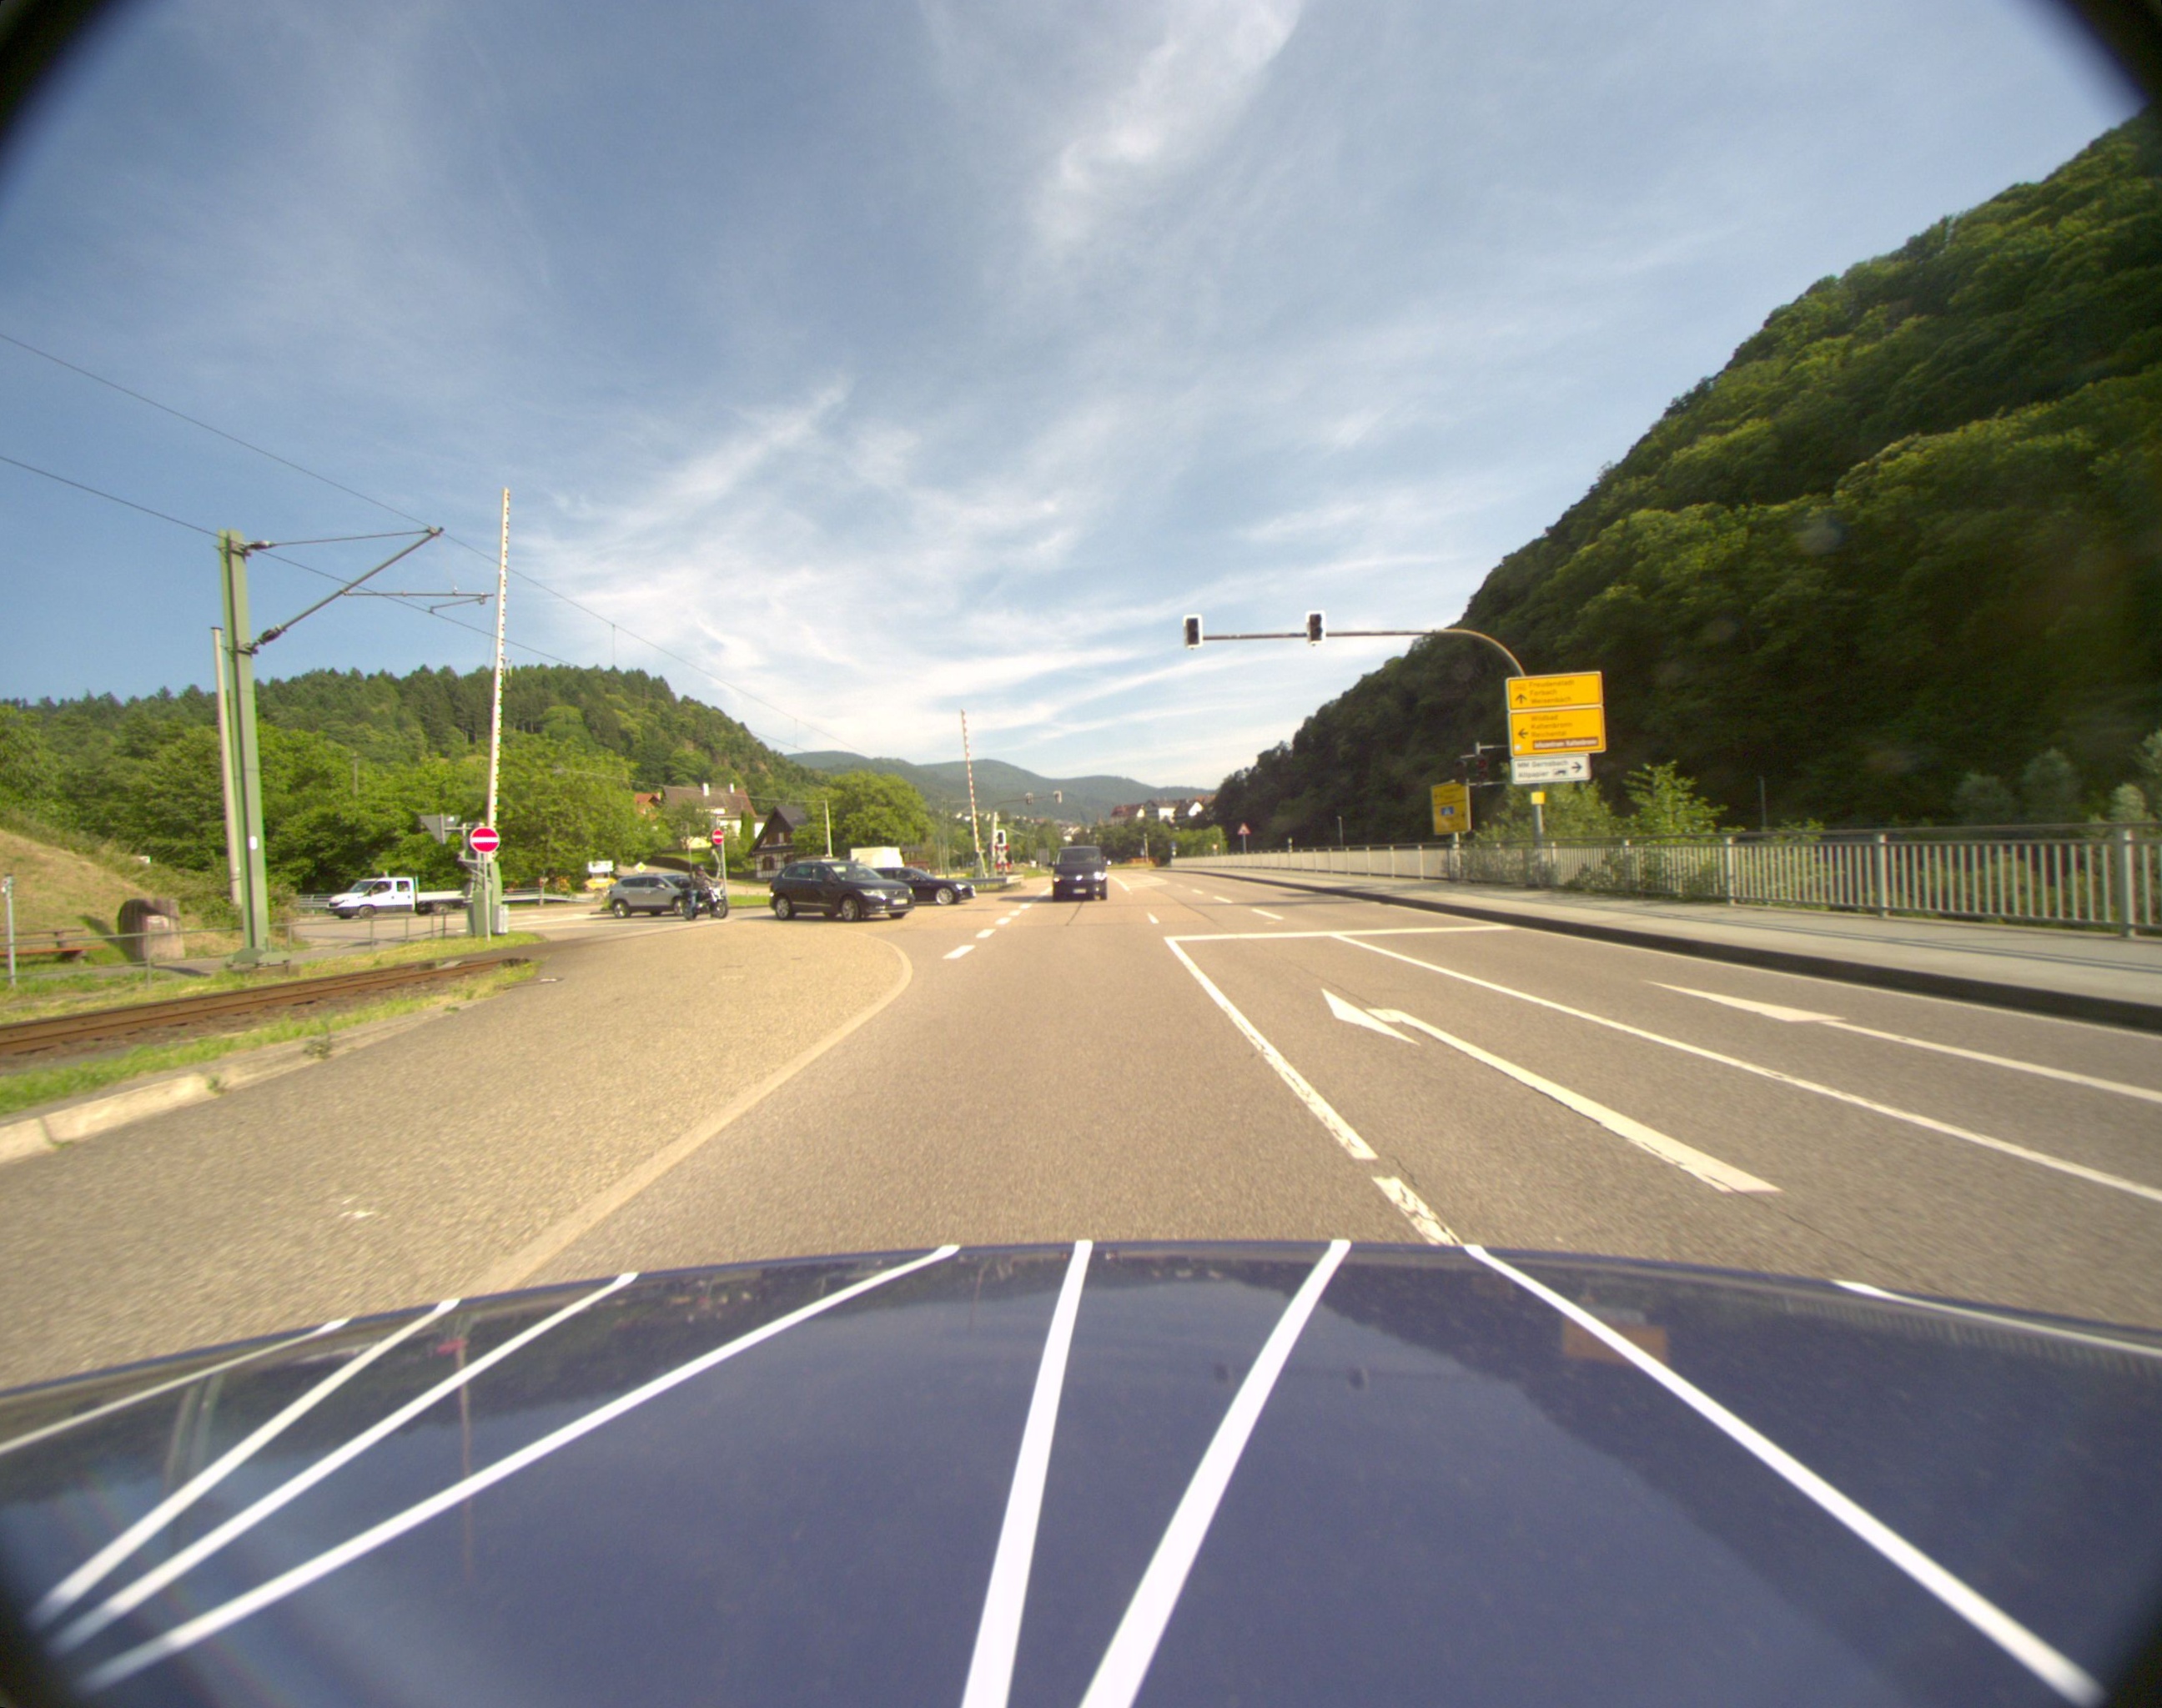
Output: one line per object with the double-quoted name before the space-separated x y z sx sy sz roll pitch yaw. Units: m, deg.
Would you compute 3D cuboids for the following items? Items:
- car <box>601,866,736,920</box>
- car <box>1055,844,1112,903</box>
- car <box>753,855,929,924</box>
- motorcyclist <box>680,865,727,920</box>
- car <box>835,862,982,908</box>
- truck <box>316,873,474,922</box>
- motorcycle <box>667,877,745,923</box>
"car" -15.154 1.433 27.979 4.119 1.677 1.836 -4 0 14
"car" 0.024 0.675 28.129 1.865 1.936 4.638 -2 0 -1
"car" -6.637 0.953 20.879 4.729 1.650 1.934 -2 0 32
"motorcyclist" -11.503 1.170 23.139 0.908 1.587 0.766 -4 0 17
"car" -6.091 1.085 27.142 4.737 1.461 1.842 -2 0 3
"truck" -37.817 2.315 42.164 2.402 2.220 5.946 -1 1 25
"motorcycle" -11.412 1.386 23.112 2.096 1.247 0.800 -4 0 19
